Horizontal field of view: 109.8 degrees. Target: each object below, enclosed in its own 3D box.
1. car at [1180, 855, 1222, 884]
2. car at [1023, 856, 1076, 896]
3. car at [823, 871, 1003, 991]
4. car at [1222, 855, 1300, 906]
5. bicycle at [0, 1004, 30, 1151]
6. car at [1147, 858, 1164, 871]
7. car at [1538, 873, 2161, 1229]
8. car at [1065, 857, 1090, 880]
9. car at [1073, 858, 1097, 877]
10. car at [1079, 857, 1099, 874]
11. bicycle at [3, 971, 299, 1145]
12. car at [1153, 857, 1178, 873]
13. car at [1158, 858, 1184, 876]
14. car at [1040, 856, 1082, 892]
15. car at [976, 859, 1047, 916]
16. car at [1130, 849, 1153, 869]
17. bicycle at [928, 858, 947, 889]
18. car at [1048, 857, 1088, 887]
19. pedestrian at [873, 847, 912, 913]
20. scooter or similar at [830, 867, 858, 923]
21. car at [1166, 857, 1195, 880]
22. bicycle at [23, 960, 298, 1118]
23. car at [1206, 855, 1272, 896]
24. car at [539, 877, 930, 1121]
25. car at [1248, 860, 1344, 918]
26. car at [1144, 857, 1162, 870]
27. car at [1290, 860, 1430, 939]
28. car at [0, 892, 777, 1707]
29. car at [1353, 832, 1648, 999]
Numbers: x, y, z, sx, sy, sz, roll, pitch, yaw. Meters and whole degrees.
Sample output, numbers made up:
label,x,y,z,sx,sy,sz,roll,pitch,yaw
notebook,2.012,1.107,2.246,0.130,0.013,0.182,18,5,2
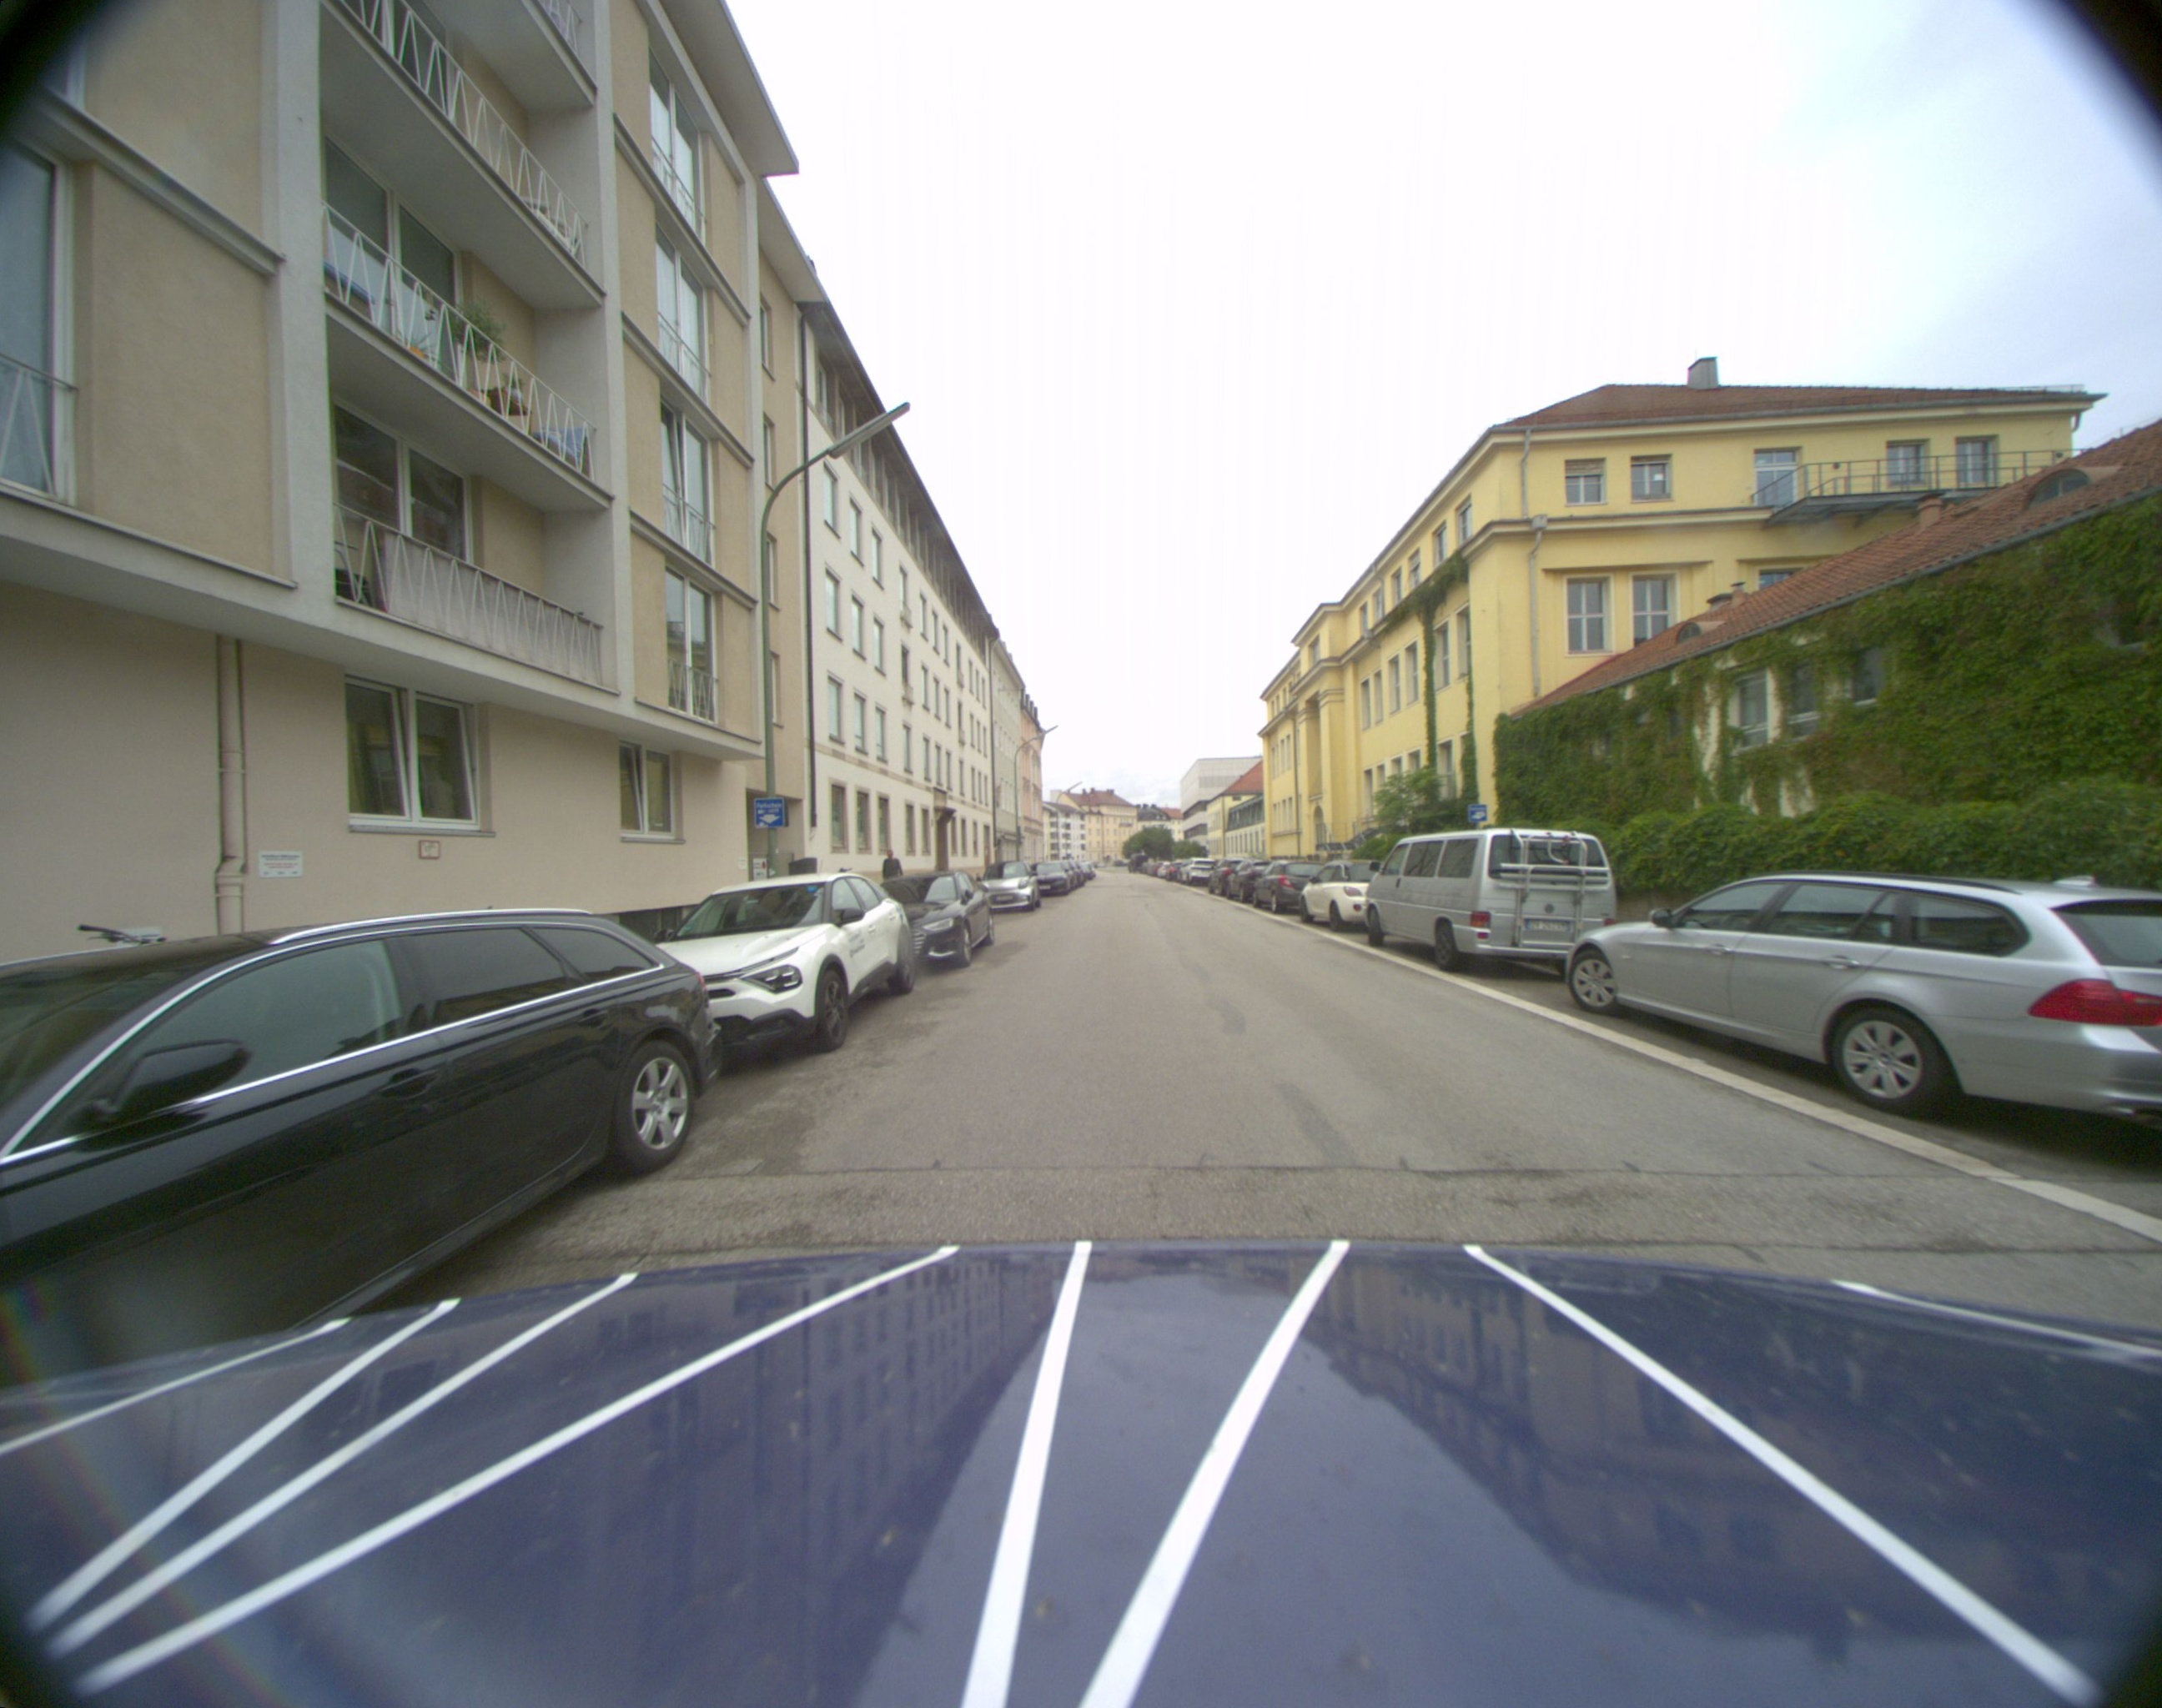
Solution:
label,x,y,z,sx,sy,sz,roll,pitch,yaw
car,7.117,0.864,45.403,1.750,1.624,4.856,0,0,0
car,-1.301,0.895,33.627,1.807,1.475,5.320,-4,0,2
car,-2.484,1.072,12.555,1.749,1.380,4.954,-4,0,1
car,6.249,0.867,26.832,1.728,1.620,4.466,1,0,1
bicycle,-7.012,1.421,4.201,0.379,0.899,1.392,-2,0,3
car,9.257,1.316,94.442,1.918,1.473,4.533,1,-1,3
car,5.557,0.934,5.614,1.657,1.406,4.771,2,0,3
car,-0.256,1.099,57.244,1.710,1.583,4.362,-3,-1,0
car,0.334,1.115,63.891,1.691,1.394,4.365,-2,0,4
car,0.829,1.207,79.690,1.686,1.663,3.802,-3,0,-5
bicycle,-6.704,1.427,5.590,0.379,0.899,1.392,-2,0,3
car,8.174,1.081,73.969,1.963,1.473,4.529,1,0,0
car,8.071,1.130,68.278,1.798,1.421,4.665,2,0,1
car,-0.955,0.965,38.873,1.649,1.580,4.635,-4,0,3
car,-2.074,0.983,23.345,1.653,1.486,2.881,-4,0,3
car,8.740,0.722,110.268,2.219,2.837,6.194,1,0,-5
bicycle,-5.968,0.795,31.686,0.514,1.215,1.988,-1,0,-4
car,-0.677,0.979,43.735,1.844,1.513,4.710,-3,0,4
pedestrian,-5.271,0.713,21.313,0.724,1.754,0.904,-2,3,4
scooter or similar,-6.349,1.061,20.401,0.441,1.351,1.588,-2,3,-9
car,7.243,1.019,55.486,1.703,1.488,4.149,2,0,3
bicycle,-7.120,1.384,5.980,0.379,0.899,1.392,-2,0,3
car,6.515,0.836,31.787,1.793,1.577,4.818,1,0,1
car,-2.885,1.088,7.625,1.698,1.480,4.580,-4,0,1
car,6.050,0.933,21.866,1.607,1.422,4.252,2,0,1
car,9.385,1.302,99.205,1.918,1.577,4.352,2,-1,0
car,5.869,0.879,16.485,1.595,1.433,4.019,1,0,1
car,-3.175,1.096,2.599,1.884,1.513,5.164,-5,0,3
car,5.678,0.695,11.152,1.891,1.878,4.775,1,0,4
